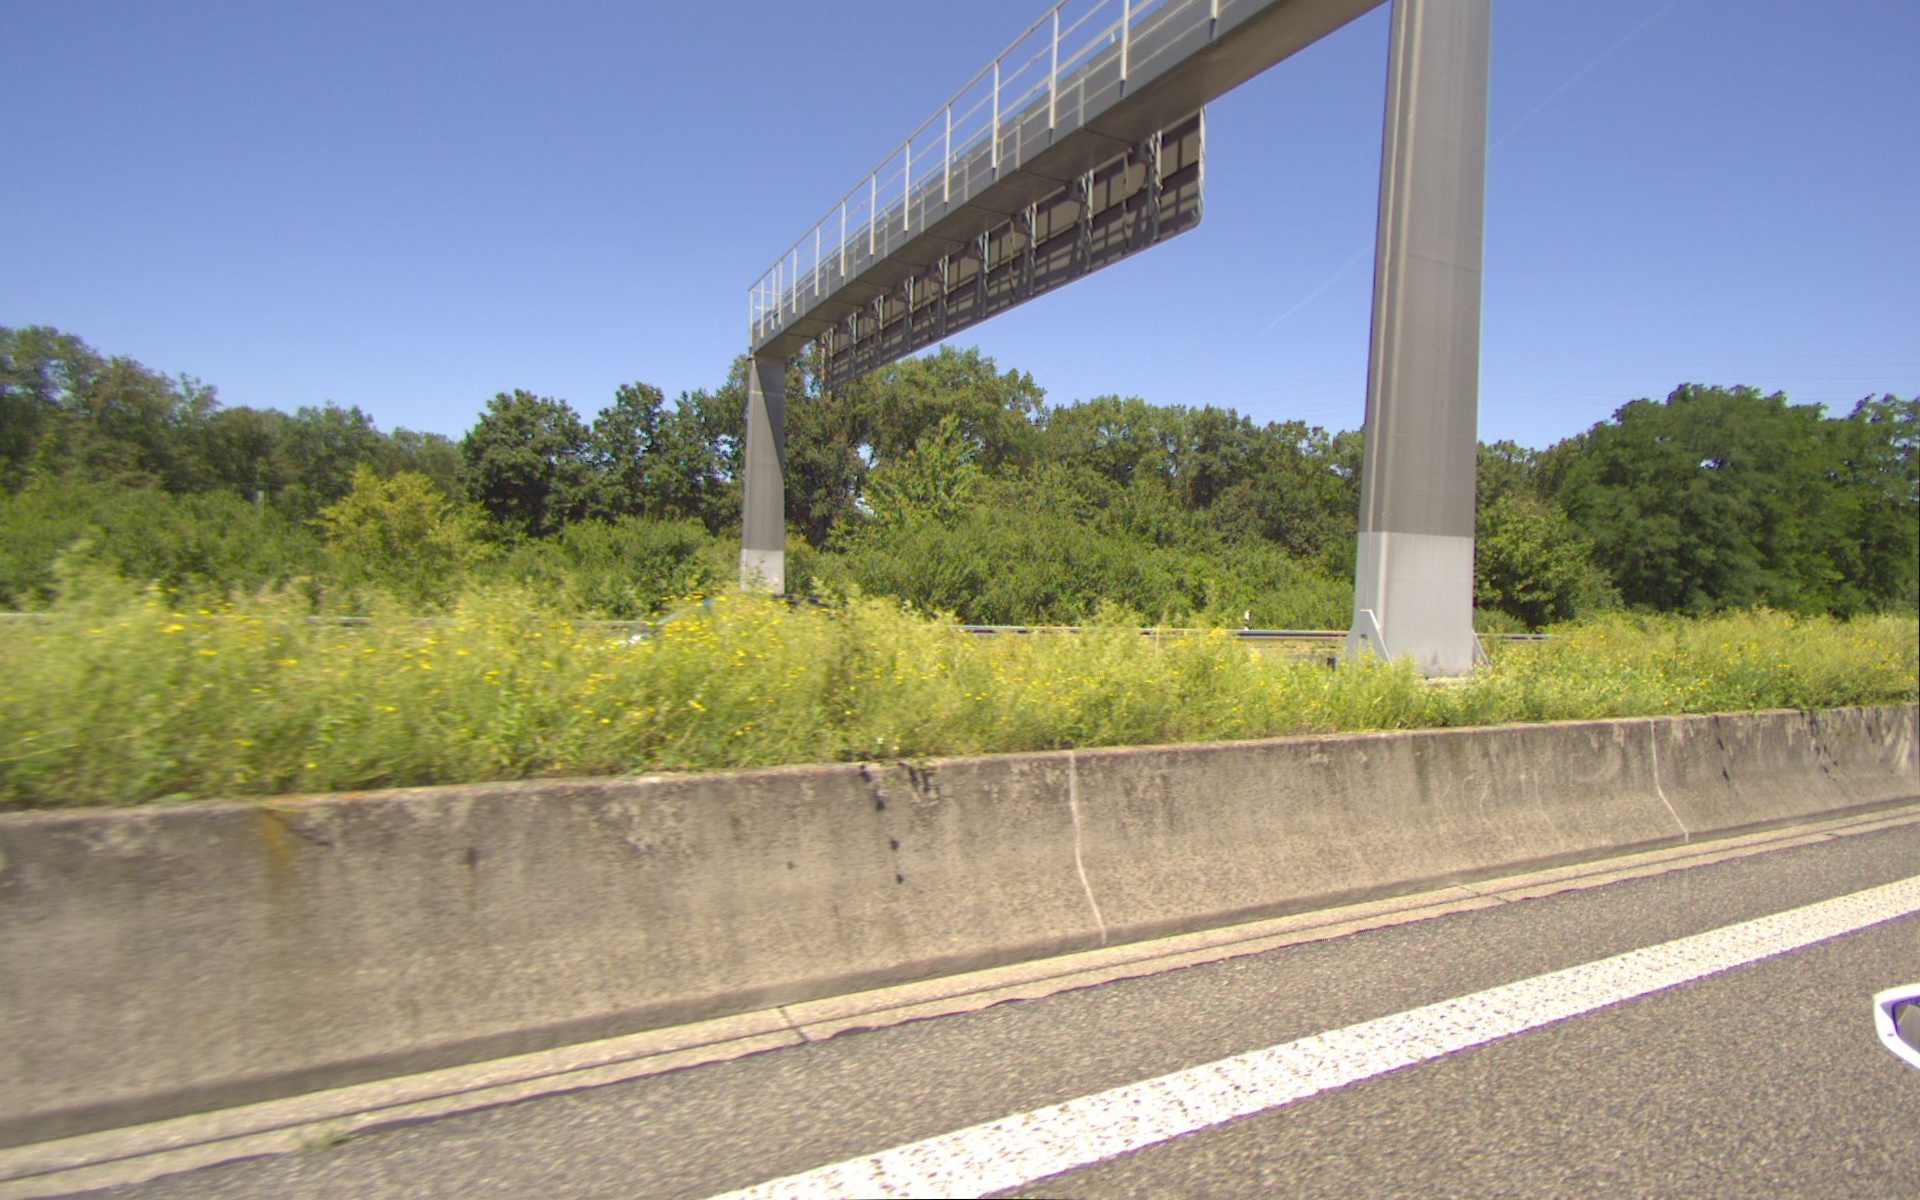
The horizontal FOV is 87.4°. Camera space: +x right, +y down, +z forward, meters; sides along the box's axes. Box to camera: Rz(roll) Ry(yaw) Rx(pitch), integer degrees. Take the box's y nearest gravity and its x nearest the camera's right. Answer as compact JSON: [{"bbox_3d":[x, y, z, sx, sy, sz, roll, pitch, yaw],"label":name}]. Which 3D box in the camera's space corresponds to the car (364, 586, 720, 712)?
[{"bbox_3d":[-5.233,0.576,12.733,3.954,1.374,1.658,2,0,-31],"label":"car"}]
